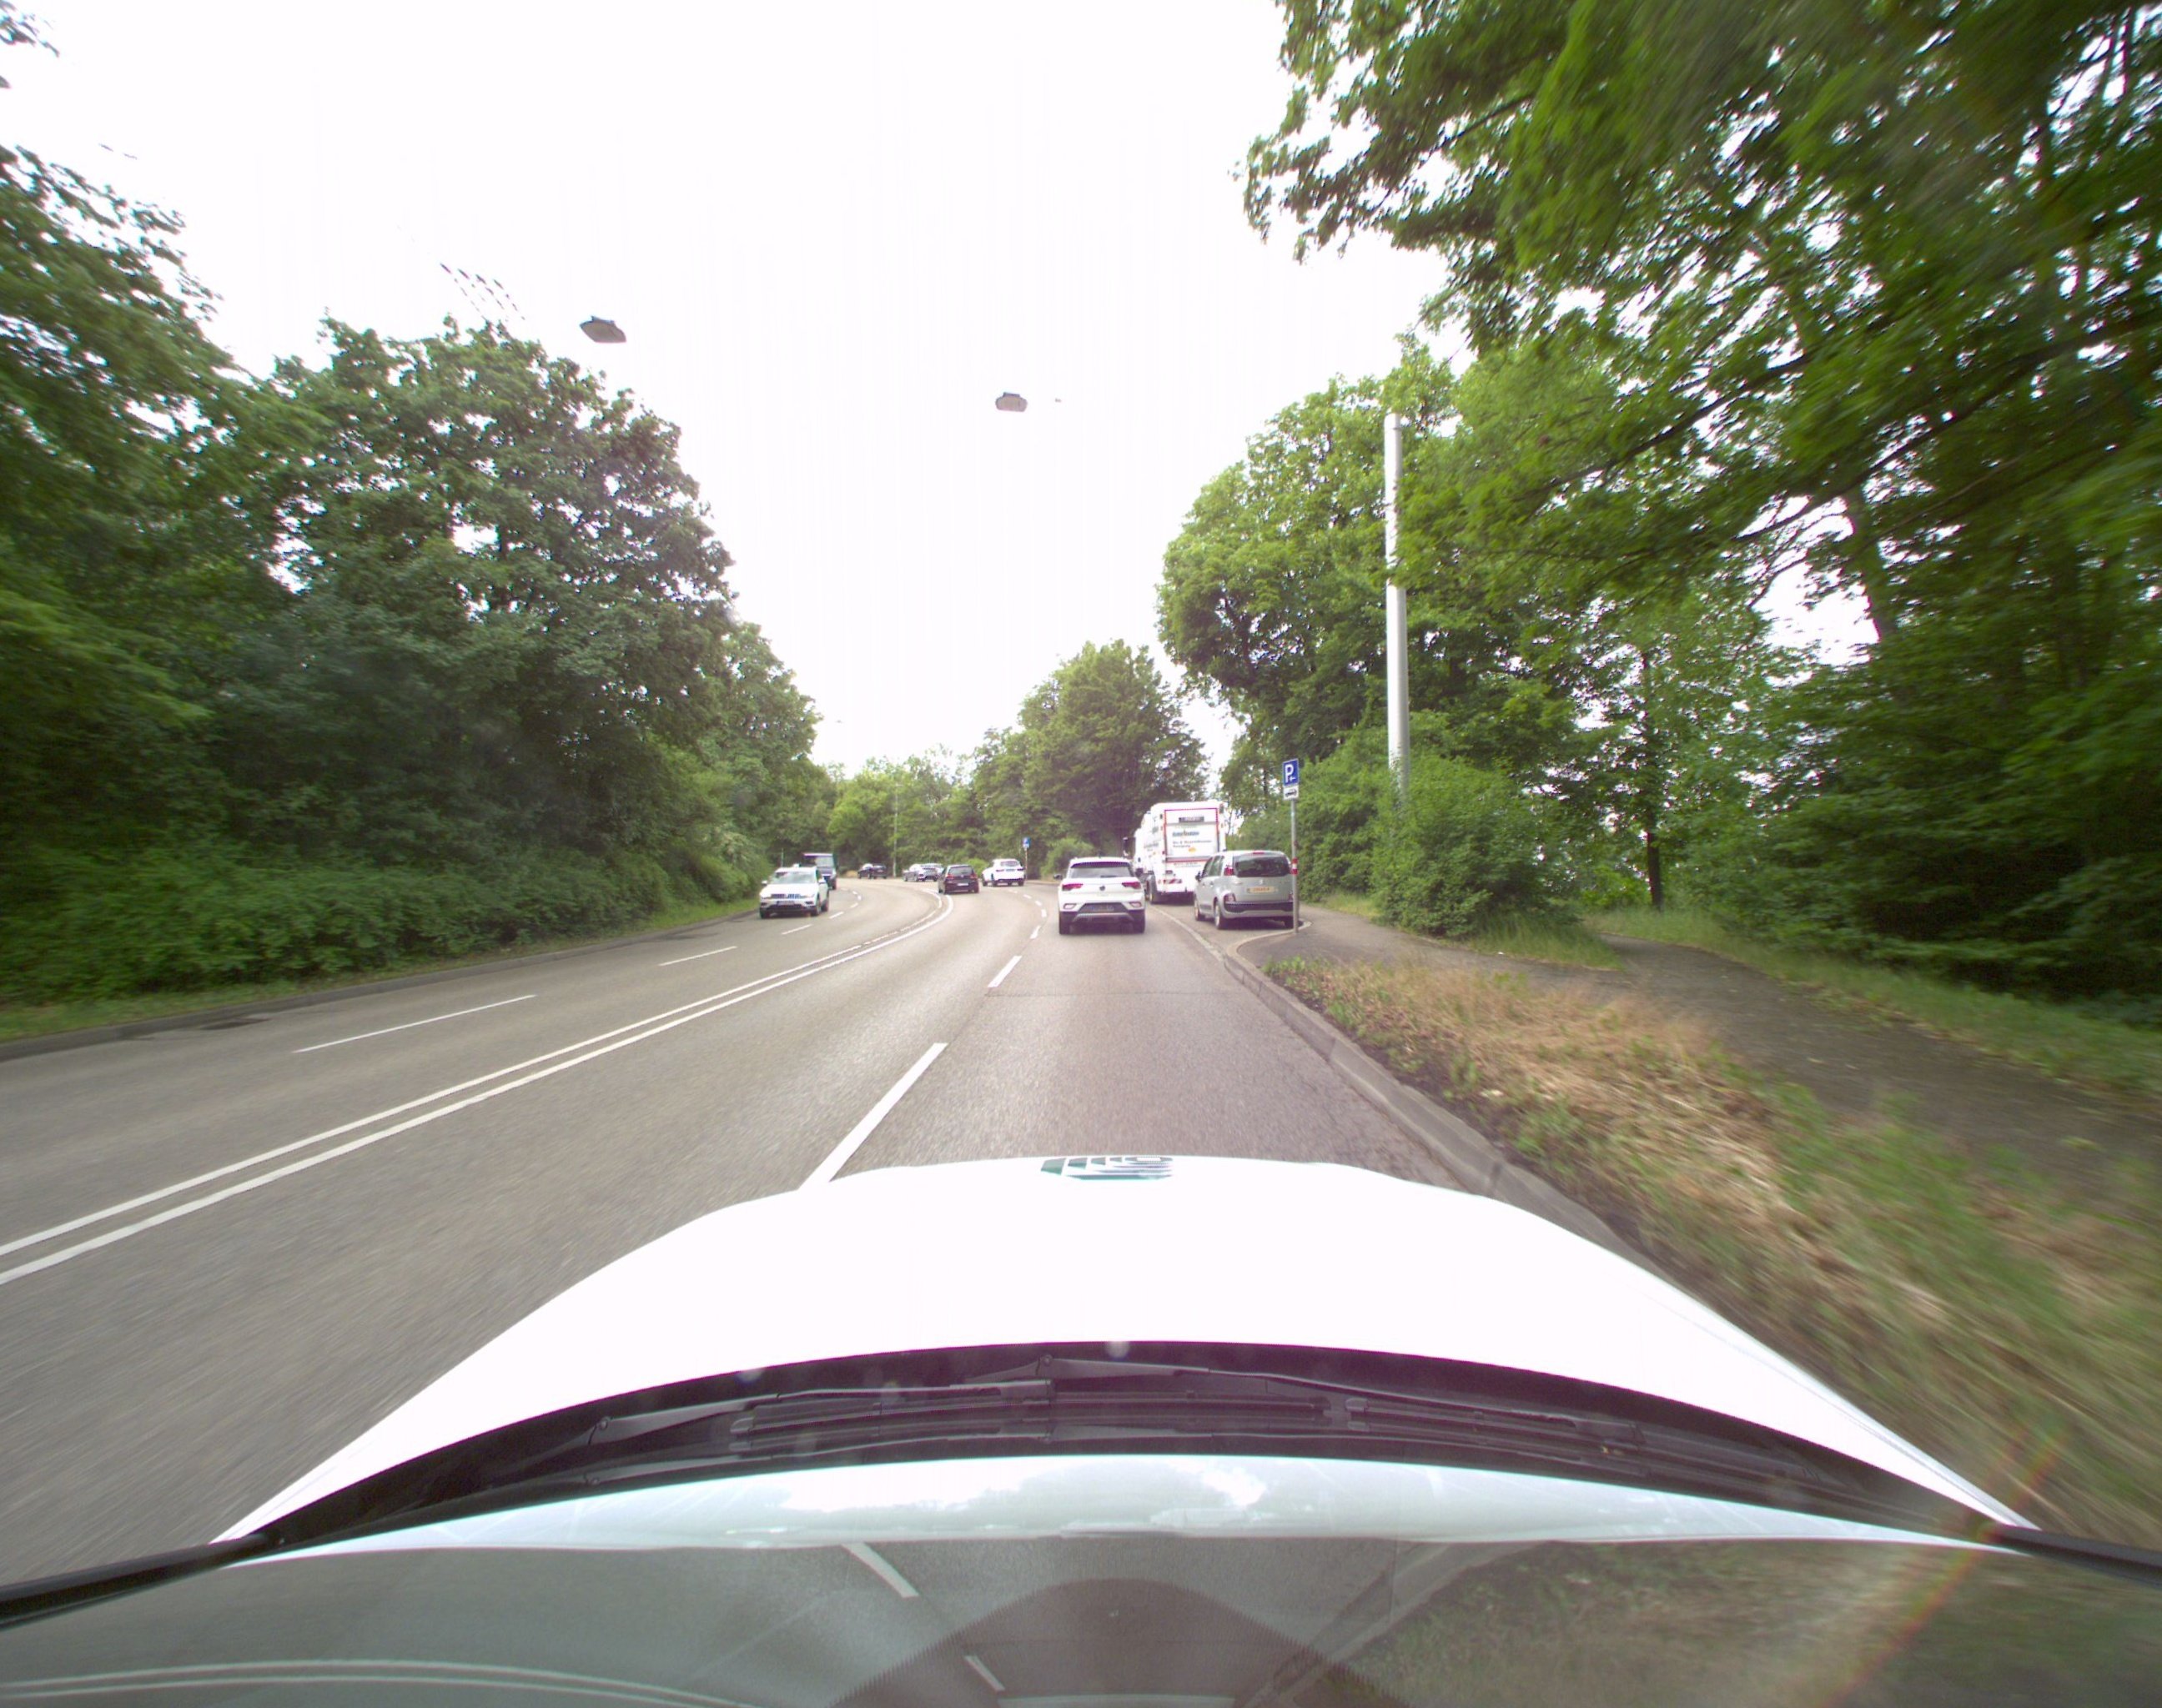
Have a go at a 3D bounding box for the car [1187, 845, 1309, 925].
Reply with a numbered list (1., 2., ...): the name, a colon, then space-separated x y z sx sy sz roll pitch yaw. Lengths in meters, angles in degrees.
1. car: 3.602 0.650 18.247 1.798 1.524 3.998 -2 -1 -1

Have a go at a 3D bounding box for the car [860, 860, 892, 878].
1. car: -19.426 1.407 77.064 1.777 1.607 3.960 2 -1 -31

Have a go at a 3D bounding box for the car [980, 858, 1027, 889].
1. car: -4.763 1.159 49.555 1.858 1.702 3.973 -2 0 -20

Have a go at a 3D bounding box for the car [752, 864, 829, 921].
1. car: -9.942 1.277 28.184 1.858 1.694 4.416 -4 -1 -12

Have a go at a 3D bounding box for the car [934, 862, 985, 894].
1. car: -6.282 1.223 41.666 1.955 1.466 3.975 -1 -1 -18

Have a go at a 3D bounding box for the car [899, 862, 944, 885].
1. car: -12.959 1.550 65.962 2.009 1.717 3.955 2 -1 -38

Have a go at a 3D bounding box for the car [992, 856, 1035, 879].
1. car: -5.085 0.999 61.090 1.767 1.652 4.343 -1 -1 -26

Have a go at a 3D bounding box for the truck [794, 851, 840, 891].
1. truck: -17.161 1.082 52.662 2.170 2.371 6.626 -1 0 -23

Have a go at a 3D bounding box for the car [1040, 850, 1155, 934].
1. car: 0.236 0.779 17.894 1.998 1.596 3.991 2 -1 -6

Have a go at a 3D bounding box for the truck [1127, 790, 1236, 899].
1. truck: 3.217 -0.243 28.047 2.476 3.182 7.221 -2 -1 -3

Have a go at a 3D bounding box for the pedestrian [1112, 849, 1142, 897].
1. pedestrian: 1.893 0.780 33.686 0.914 1.833 0.984 11 -1 1
